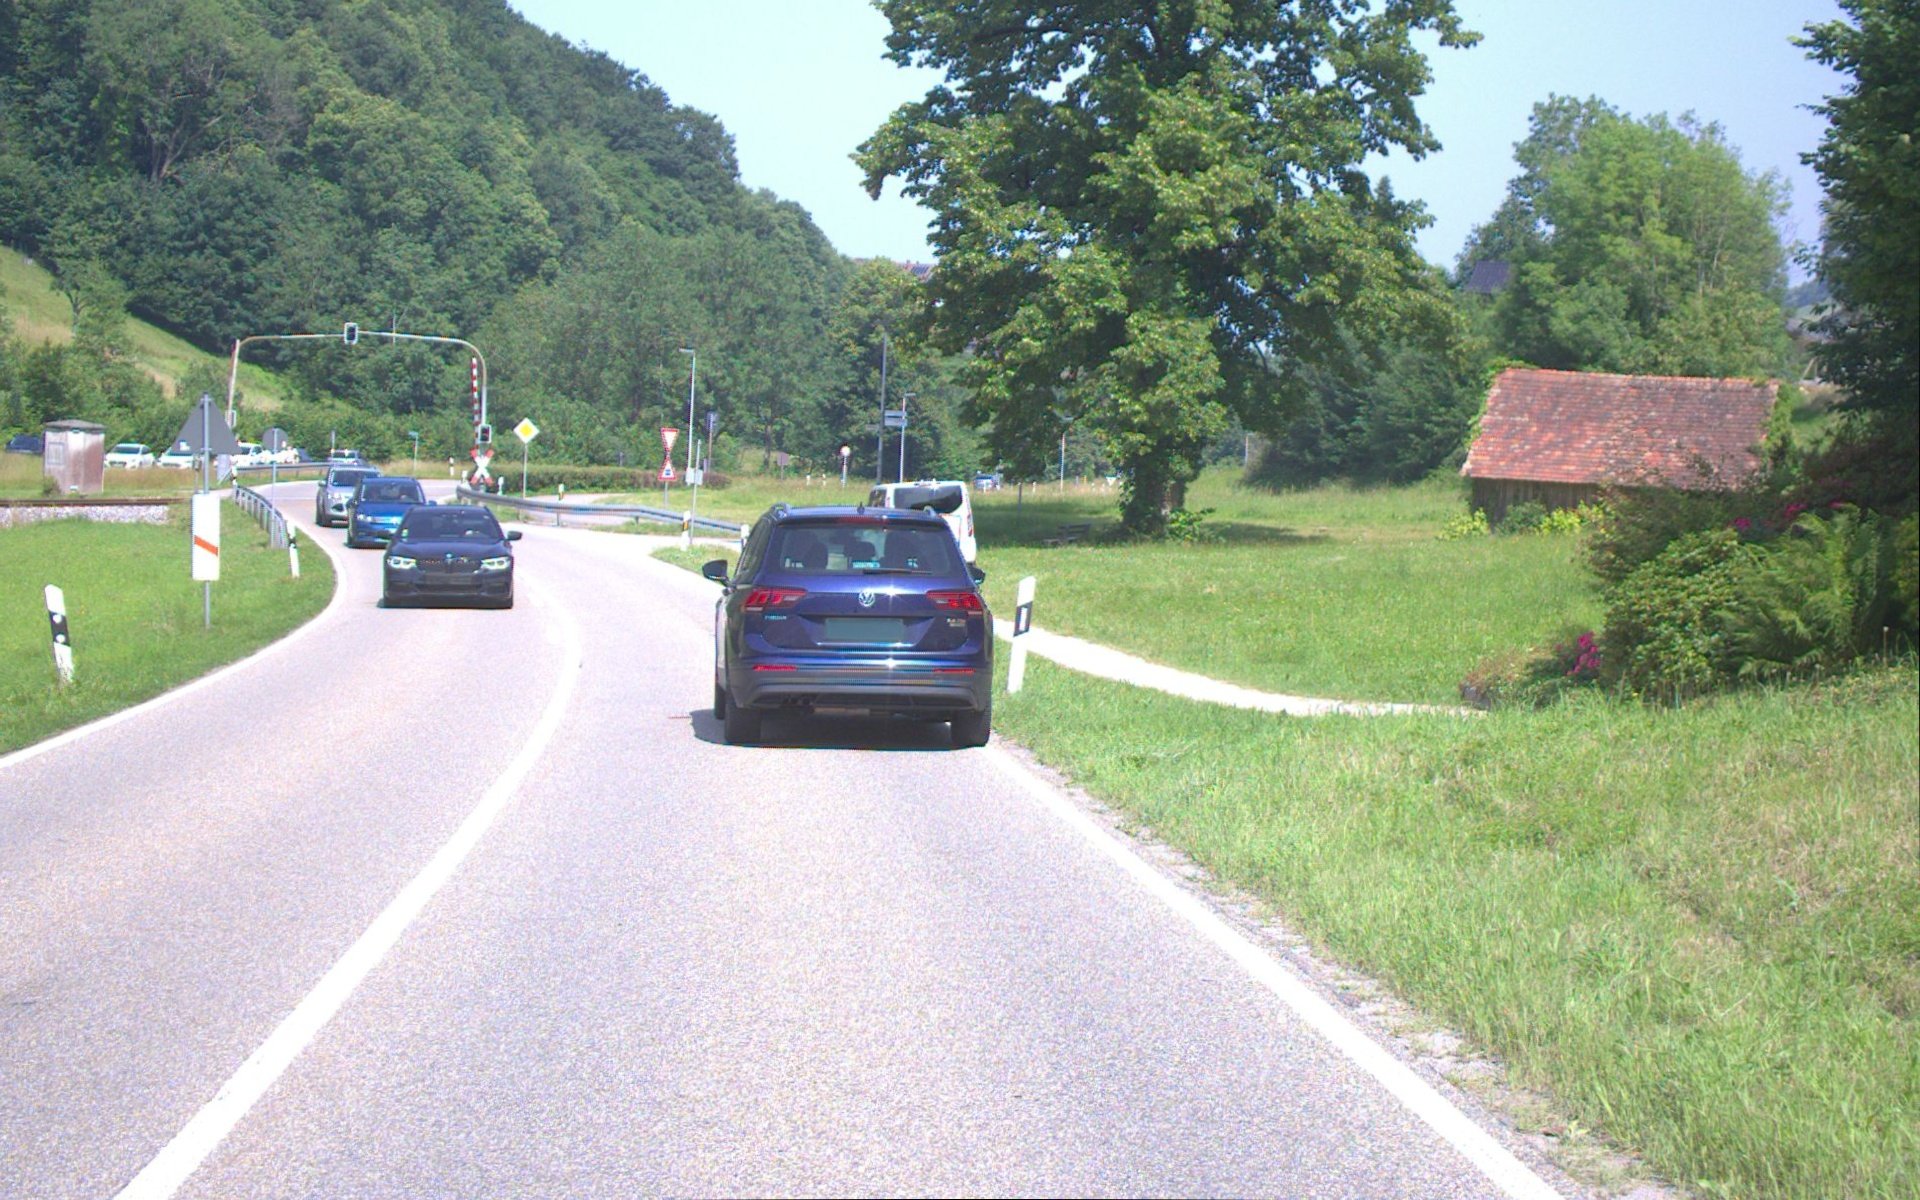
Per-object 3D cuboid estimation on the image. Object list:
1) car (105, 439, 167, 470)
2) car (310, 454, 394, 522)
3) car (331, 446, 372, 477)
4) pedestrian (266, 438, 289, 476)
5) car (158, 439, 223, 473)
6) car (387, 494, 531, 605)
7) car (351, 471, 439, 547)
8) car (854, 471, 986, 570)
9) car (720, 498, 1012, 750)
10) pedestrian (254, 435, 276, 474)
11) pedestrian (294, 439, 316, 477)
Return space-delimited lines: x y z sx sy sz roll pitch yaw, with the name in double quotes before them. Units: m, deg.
"car" -41.153 -7.267 171.789 1.993 1.495 4.522 1 2 0
"car" -16.455 -3.046 92.947 1.914 1.708 4.161 1 2 -14
"car" -30.292 -6.886 171.113 1.825 1.495 4.279 1 2 -8
"pedestrian" -32.957 -6.892 165.972 0.770 1.790 0.793 2 2 29
"car" -38.476 -7.217 172.061 1.993 1.635 4.902 2 2 2
"car" -7.415 -0.770 50.609 1.916 1.465 4.512 1 2 -10
"car" -13.036 -2.131 79.519 1.865 1.618 4.512 2 2 -8
"car" -0.876 -1.691 71.680 1.999 1.842 4.870 -3 3 -8
"car" -0.751 0.107 24.482 1.852 1.643 4.141 0 1 -5
"pedestrian" -33.329 -6.970 164.798 0.788 1.836 0.698 2 2 13
"pedestrian" -31.652 -6.860 166.137 0.648 1.852 0.769 3 3 35
